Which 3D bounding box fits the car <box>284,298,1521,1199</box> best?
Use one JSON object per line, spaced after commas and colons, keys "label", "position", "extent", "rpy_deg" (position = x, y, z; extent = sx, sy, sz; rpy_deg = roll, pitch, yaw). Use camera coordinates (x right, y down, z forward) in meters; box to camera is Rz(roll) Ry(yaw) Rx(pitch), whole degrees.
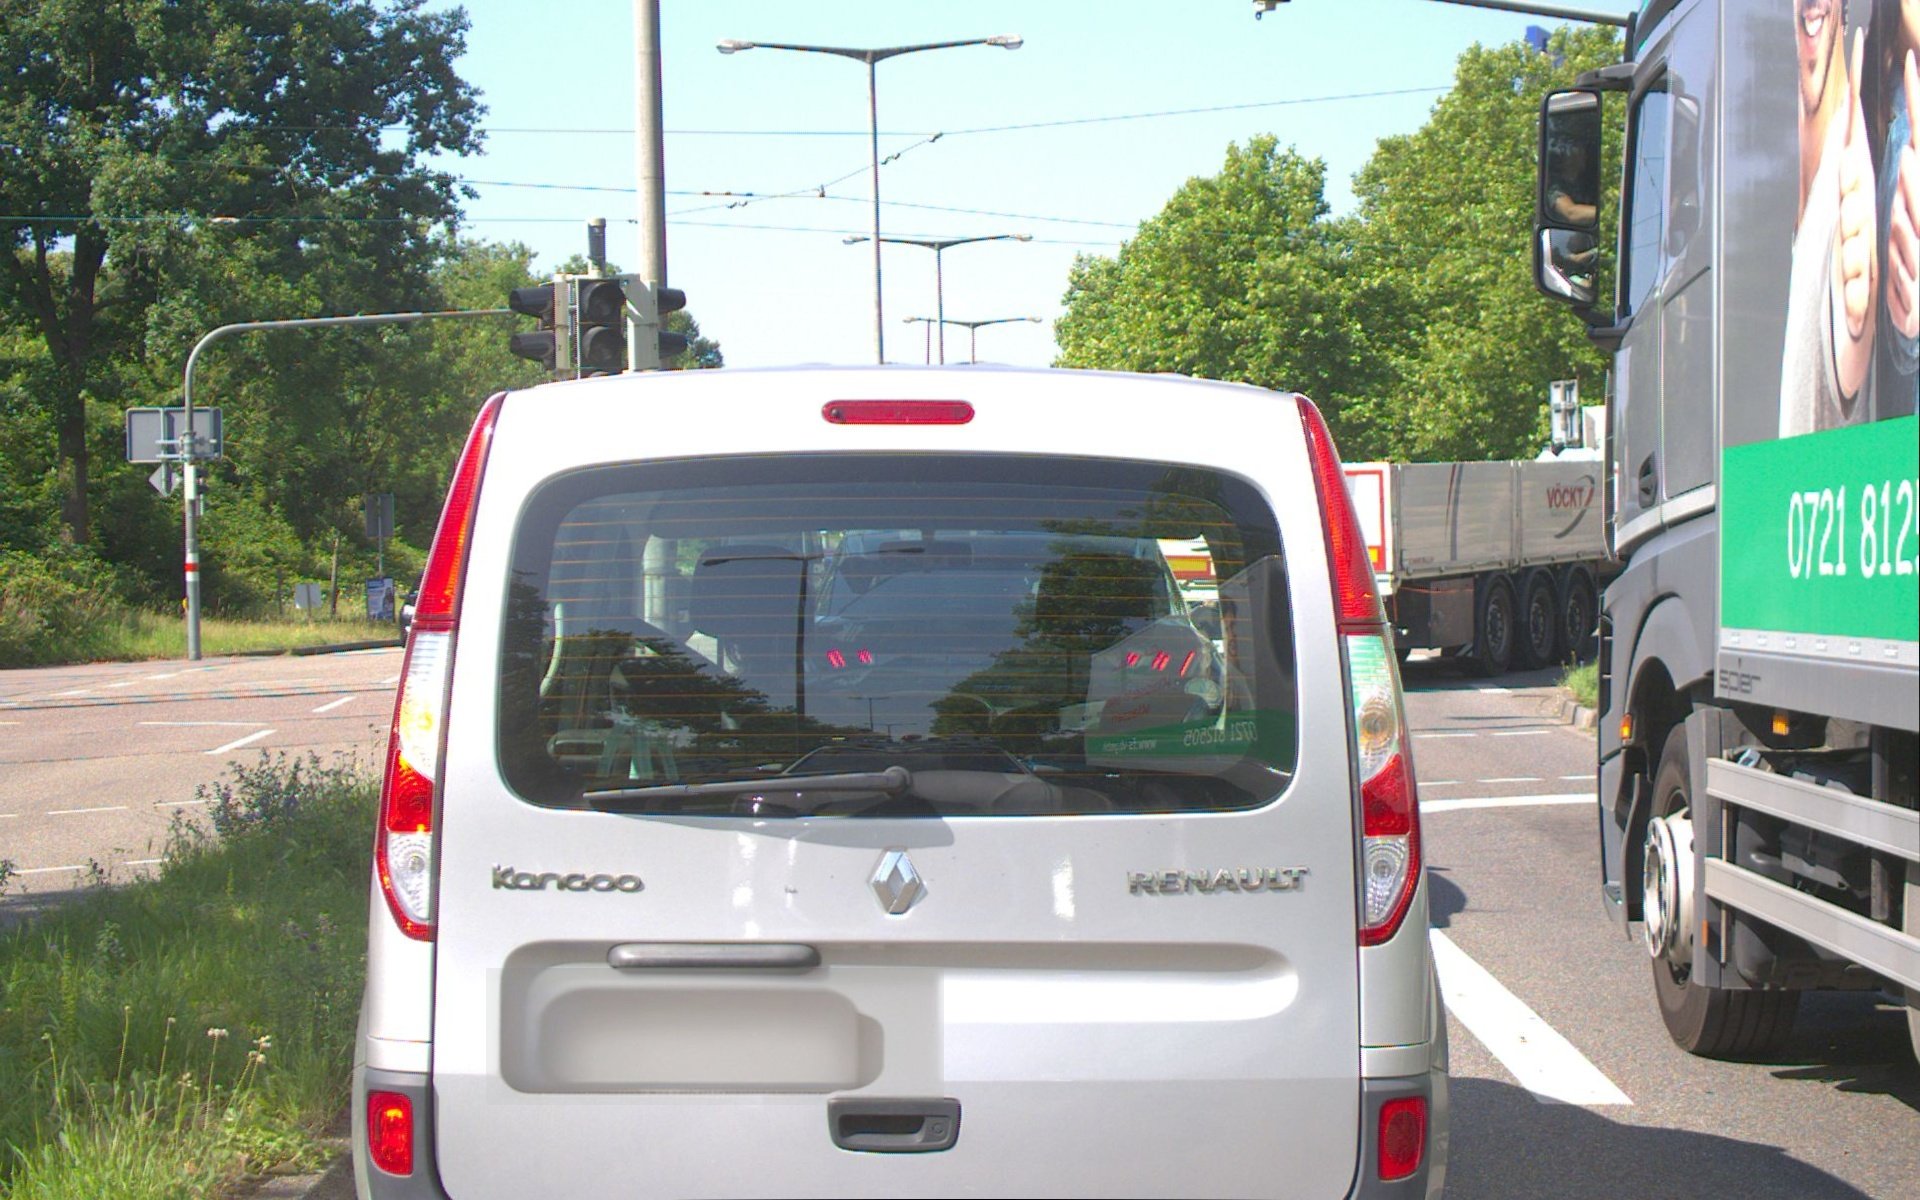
{"label": "car", "position": [-0.110, 0.470, 7.016], "extent": [1.786, 1.831, 4.000], "rpy_deg": [1, 0, -1]}

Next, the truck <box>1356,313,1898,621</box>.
{"label": "truck", "position": [8.636, -1.575, 44.003], "extent": [7.168, 3.630, 2.919], "rpy_deg": [0, 1, -40]}

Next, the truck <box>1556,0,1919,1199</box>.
{"label": "truck", "position": [3.250, -0.590, 7.250], "extent": [2.729, 3.876, 8.722], "rpy_deg": [-1, 0, 2]}

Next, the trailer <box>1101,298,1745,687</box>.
{"label": "trailer", "position": [5.601, -1.032, 38.145], "extent": [2.904, 3.610, 12.666], "rpy_deg": [1, 1, 28]}

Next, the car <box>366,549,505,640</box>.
{"label": "car", "position": [-9.951, -0.116, 65.478], "extent": [1.911, 1.636, 3.737], "rpy_deg": [-1, 0, 2]}

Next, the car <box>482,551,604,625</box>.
{"label": "car", "position": [-9.222, -0.274, 76.342], "extent": [1.994, 1.535, 4.236], "rpy_deg": [-1, 0, 2]}

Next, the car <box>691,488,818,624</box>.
{"label": "car", "position": [-4.107, -0.878, 69.569], "extent": [1.994, 2.598, 5.133], "rpy_deg": [-1, 0, 2]}
